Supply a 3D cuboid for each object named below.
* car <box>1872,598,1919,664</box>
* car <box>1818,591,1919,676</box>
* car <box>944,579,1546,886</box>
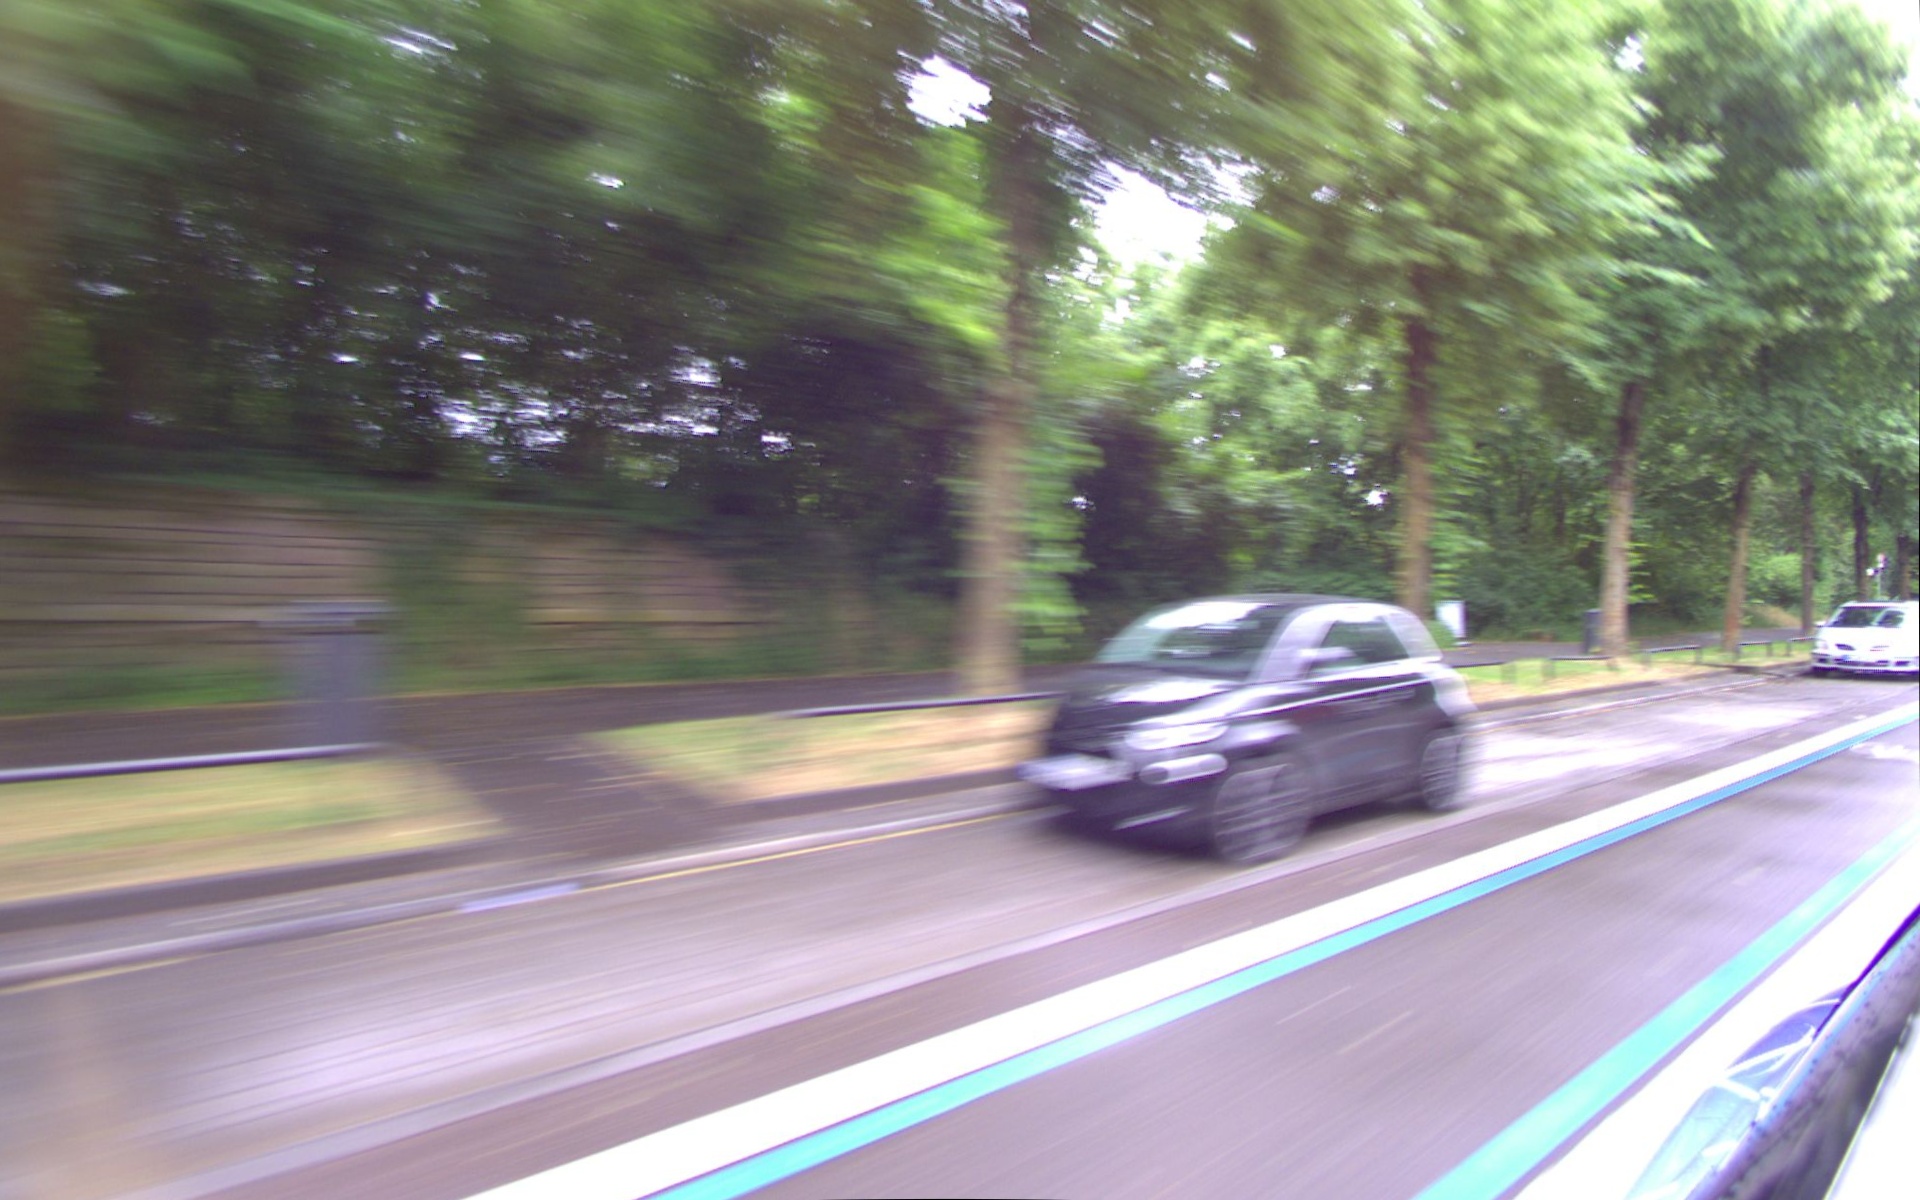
[{"bbox_3d":[24.169,0.730,24.975,4.386,1.533,1.702,0,0,-37],"label":"car"},{"bbox_3d":[19.685,0.638,21.237,4.655,1.617,1.757,0,0,-39],"label":"car"},{"bbox_3d":[2.220,0.647,7.172,4.487,1.522,1.830,0,1,-38],"label":"car"}]
